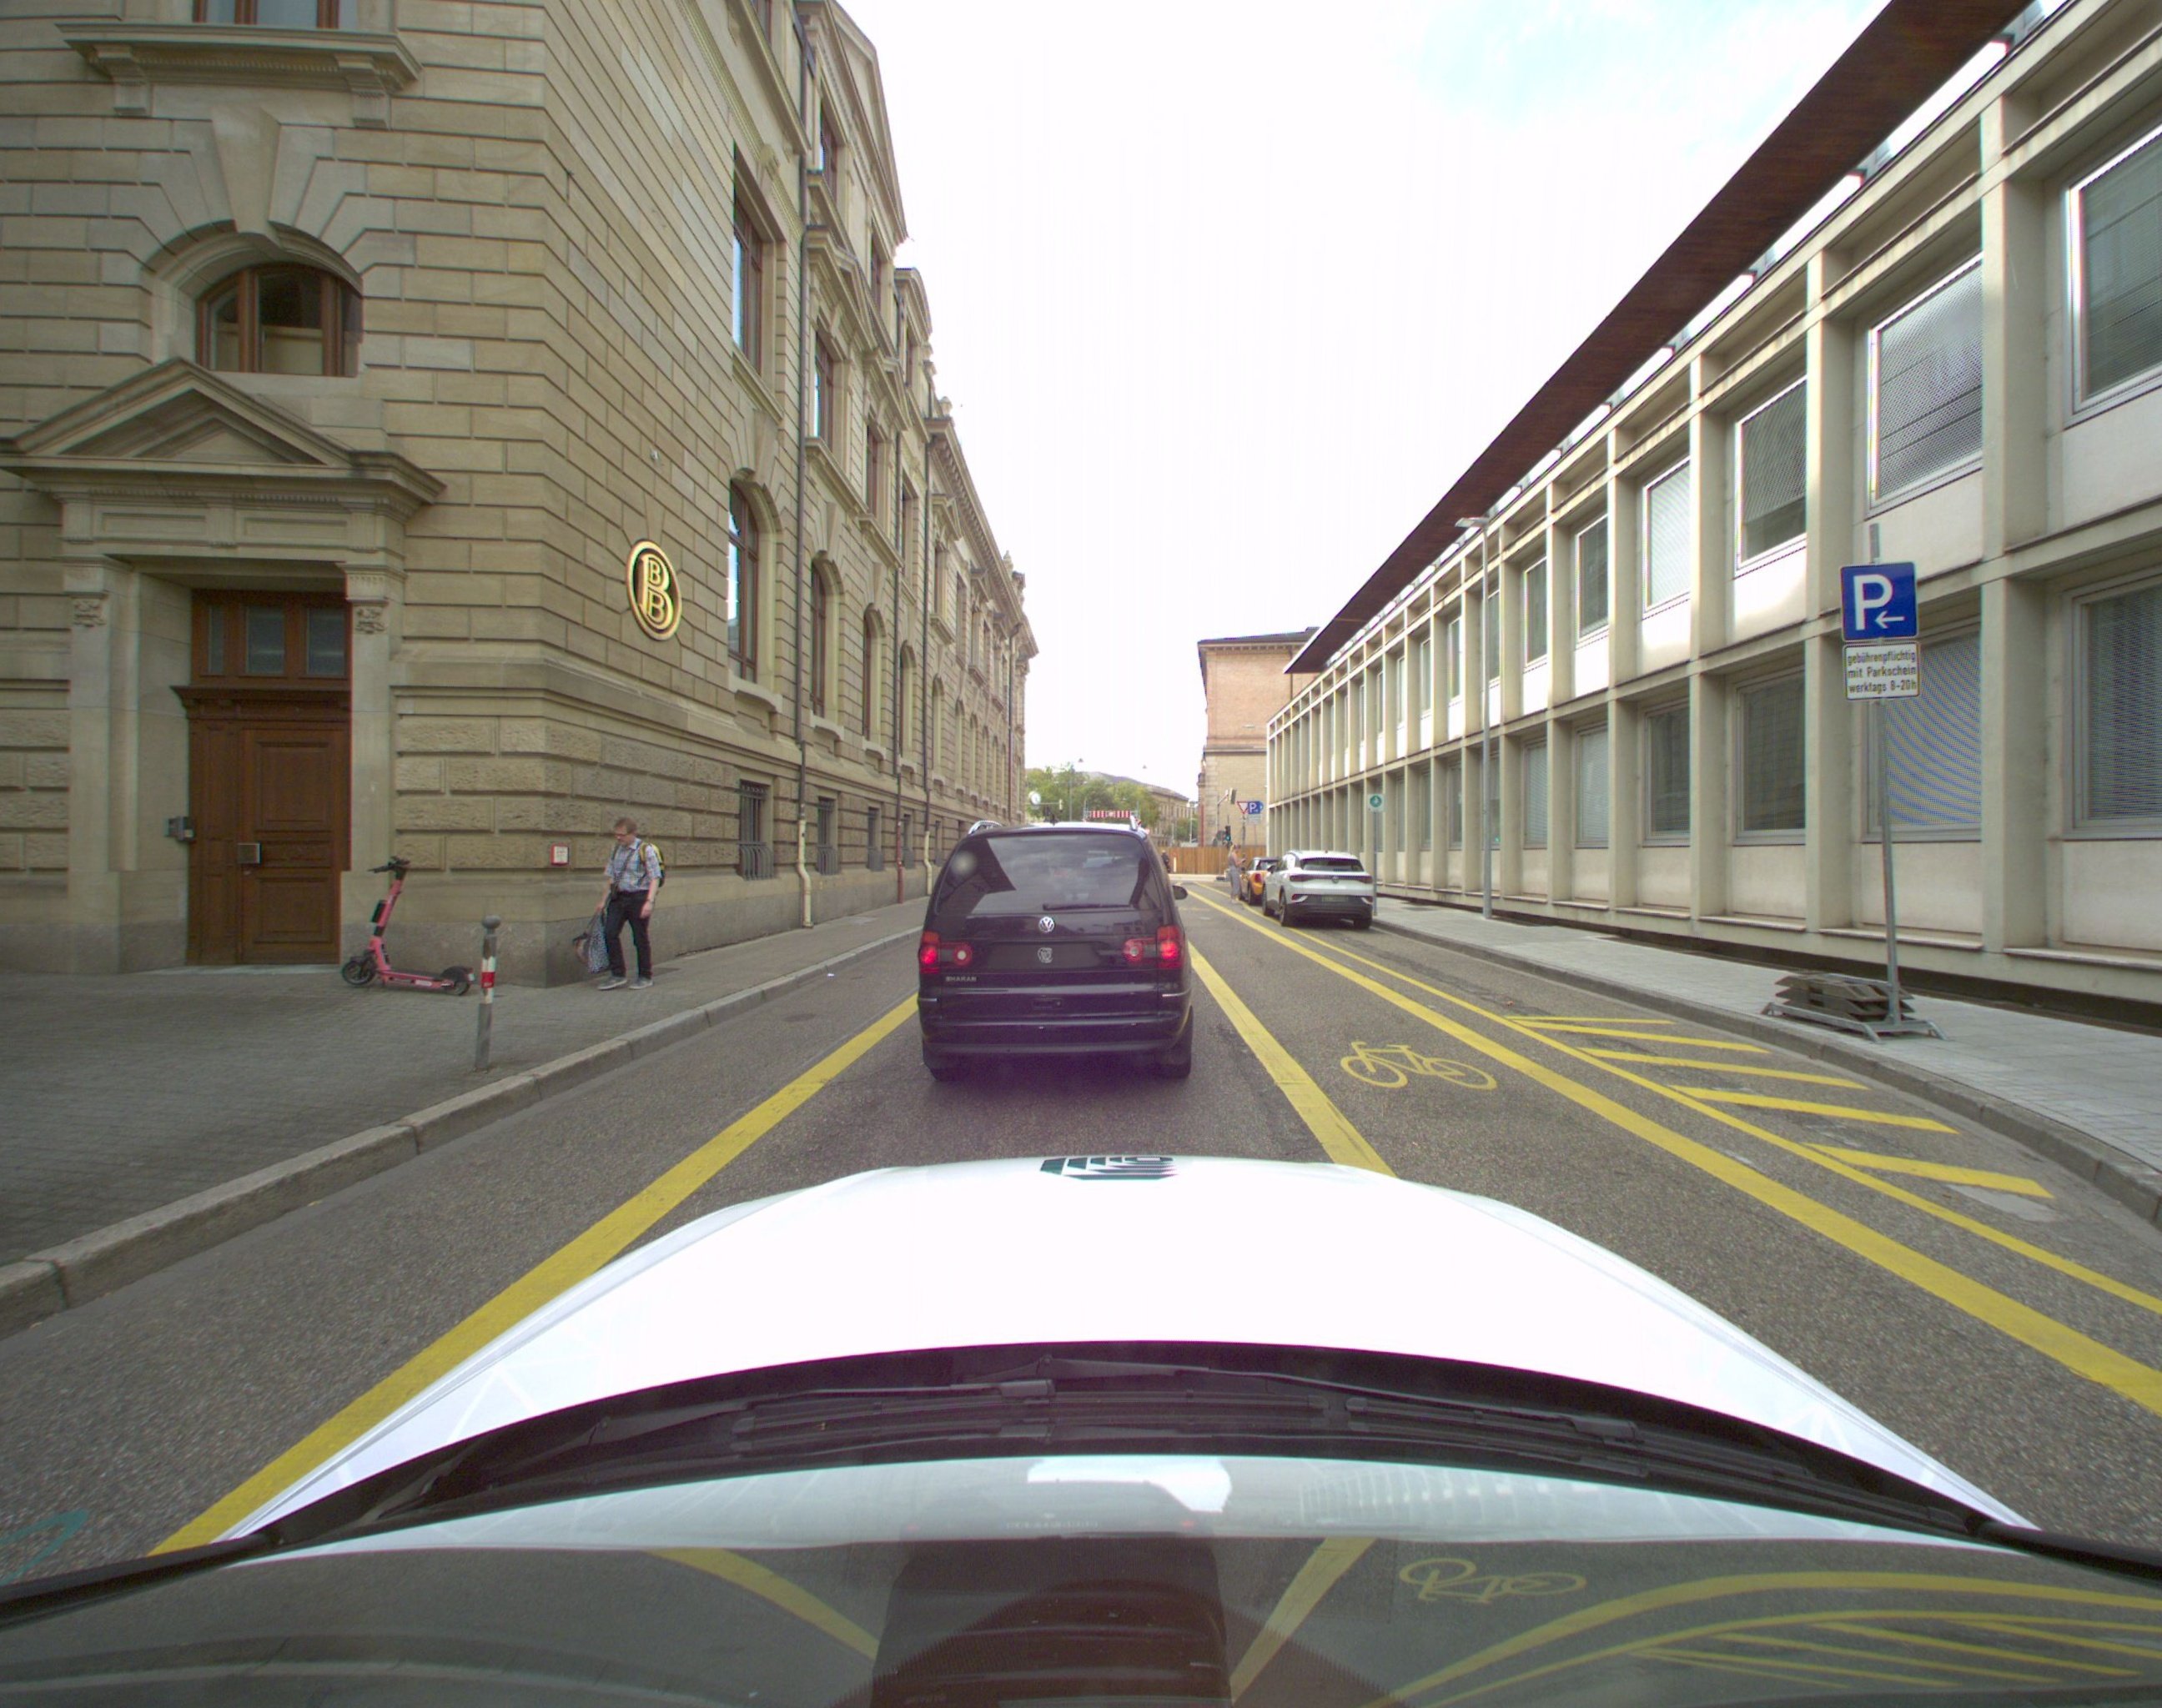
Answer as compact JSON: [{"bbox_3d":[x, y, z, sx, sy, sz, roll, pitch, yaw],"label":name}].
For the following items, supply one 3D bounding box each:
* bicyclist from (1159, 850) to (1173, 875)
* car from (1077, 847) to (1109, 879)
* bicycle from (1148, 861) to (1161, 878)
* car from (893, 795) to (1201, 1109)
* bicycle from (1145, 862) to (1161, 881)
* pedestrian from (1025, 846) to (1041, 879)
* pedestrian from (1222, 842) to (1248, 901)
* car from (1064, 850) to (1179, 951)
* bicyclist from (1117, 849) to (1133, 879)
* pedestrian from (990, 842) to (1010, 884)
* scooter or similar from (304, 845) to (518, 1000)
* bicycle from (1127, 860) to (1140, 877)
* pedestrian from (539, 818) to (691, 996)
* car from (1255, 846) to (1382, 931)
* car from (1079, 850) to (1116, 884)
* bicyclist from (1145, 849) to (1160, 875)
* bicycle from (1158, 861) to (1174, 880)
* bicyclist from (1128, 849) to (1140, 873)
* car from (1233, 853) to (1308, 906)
[{"bbox_3d":[4.750,0.493,45.660,0.732,1.375,0.832,0,-1,1],"label":"bicyclist"},{"bbox_3d":[0.661,0.525,47.410,1.729,1.790,4.101,0,0,-1],"label":"car"},{"bbox_3d":[4.540,0.954,50.392,0.732,1.009,2.069,0,-1,2],"label":"bicycle"},{"bbox_3d":[-0.033,0.569,6.746,1.781,1.790,4.108,0,0,5],"label":"car"},{"bbox_3d":[3.863,0.925,43.926,0.732,1.009,2.069,0,-1,2],"label":"bicycle"},{"bbox_3d":[-2.746,0.481,46.784,0.789,1.819,1.048,2,-1,2],"label":"pedestrian"},{"bbox_3d":[4.670,0.530,24.701,0.694,1.764,0.707,0,-1,5],"label":"pedestrian"},{"bbox_3d":[0.762,0.696,14.002,1.670,1.469,4.108,0,0,5],"label":"car"},{"bbox_3d":[2.146,0.488,39.700,0.732,1.478,0.885,0,-1,1],"label":"bicyclist"},{"bbox_3d":[-3.523,0.388,35.422,0.661,1.819,1.048,2,-1,2],"label":"pedestrian"},{"bbox_3d":[-6.188,0.611,7.568,1.441,1.310,0.587,3,1,0],"label":"scooter or similar"},{"bbox_3d":[3.269,0.900,50.469,0.732,1.009,2.069,0,-1,2],"label":"bicycle"},{"bbox_3d":[-4.782,0.522,8.429,1.022,1.720,0.819,2,-1,1],"label":"pedestrian"},{"bbox_3d":[5.227,0.708,18.523,1.851,1.605,4.518,3,0,5],"label":"car"},{"bbox_3d":[0.839,0.638,40.396,1.766,1.586,4.001,0,-1,2],"label":"car"},{"bbox_3d":[3.868,0.418,44.086,0.732,1.377,0.829,0,-1,1],"label":"bicyclist"},{"bbox_3d":[4.751,0.920,45.672,0.732,1.009,2.069,0,-1,2],"label":"bicycle"},{"bbox_3d":[3.272,0.404,50.439,0.732,1.470,0.809,0,-1,1],"label":"bicyclist"},{"bbox_3d":[5.752,0.743,25.138,1.672,1.435,3.891,3,0,5],"label":"car"}]
